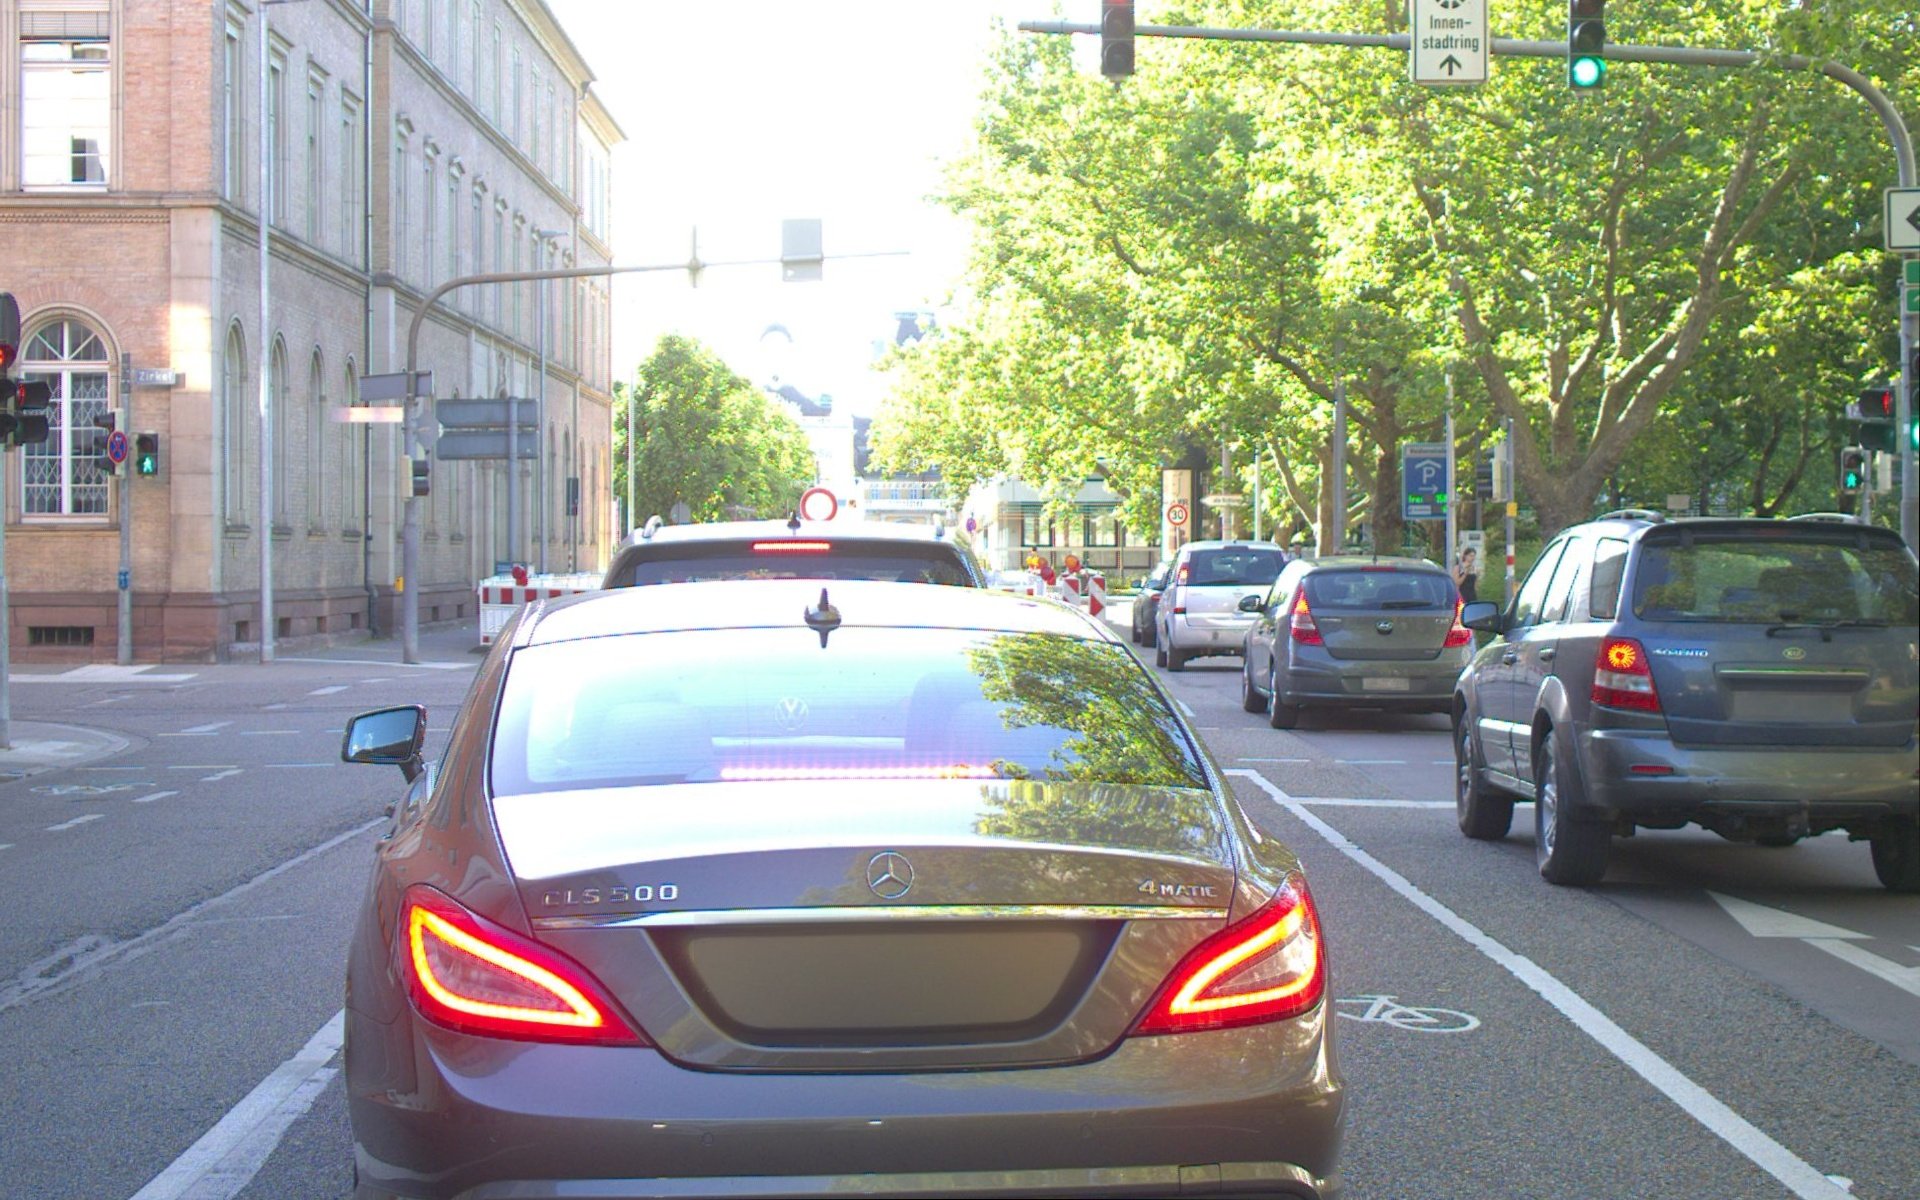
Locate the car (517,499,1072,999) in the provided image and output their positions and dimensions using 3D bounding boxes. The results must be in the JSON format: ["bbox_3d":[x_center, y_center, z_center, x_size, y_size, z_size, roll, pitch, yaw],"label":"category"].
[{"bbox_3d":[-0.582,0.471,13.623,1.861,1.677,4.000,0,1,-1],"label":"car"}]

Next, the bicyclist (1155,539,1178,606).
[{"bbox_3d":[6.296,-0.851,104.984,0.594,2.032,0.566,1,0,-4],"label":"bicyclist"}]

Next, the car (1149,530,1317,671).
[{"bbox_3d":[3.356,-0.015,42.857,1.731,1.656,3.681,1,1,-1],"label":"car"}]

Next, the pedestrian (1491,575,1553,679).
[{"bbox_3d":[8.402,0.399,51.440,0.635,1.540,0.910,1,0,-10],"label":"pedestrian"}]

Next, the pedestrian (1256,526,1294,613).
[{"bbox_3d":[6.424,-0.614,70.059,0.635,1.754,0.699,1,0,-4],"label":"pedestrian"}]

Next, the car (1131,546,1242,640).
[{"bbox_3d":[3.872,-0.136,59.128,1.601,1.543,3.681,1,1,-1],"label":"car"}]

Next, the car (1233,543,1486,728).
[{"bbox_3d":[3.451,0.259,30.333,1.704,1.514,4.000,0,1,-1],"label":"car"}]

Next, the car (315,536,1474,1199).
[{"bbox_3d":[-0.362,0.626,7.493,1.861,1.514,4.001,0,1,-8],"label":"car"}]

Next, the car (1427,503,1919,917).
[{"bbox_3d":[3.574,0.435,16.955,1.861,1.758,4.482,0,1,-1],"label":"car"}]
